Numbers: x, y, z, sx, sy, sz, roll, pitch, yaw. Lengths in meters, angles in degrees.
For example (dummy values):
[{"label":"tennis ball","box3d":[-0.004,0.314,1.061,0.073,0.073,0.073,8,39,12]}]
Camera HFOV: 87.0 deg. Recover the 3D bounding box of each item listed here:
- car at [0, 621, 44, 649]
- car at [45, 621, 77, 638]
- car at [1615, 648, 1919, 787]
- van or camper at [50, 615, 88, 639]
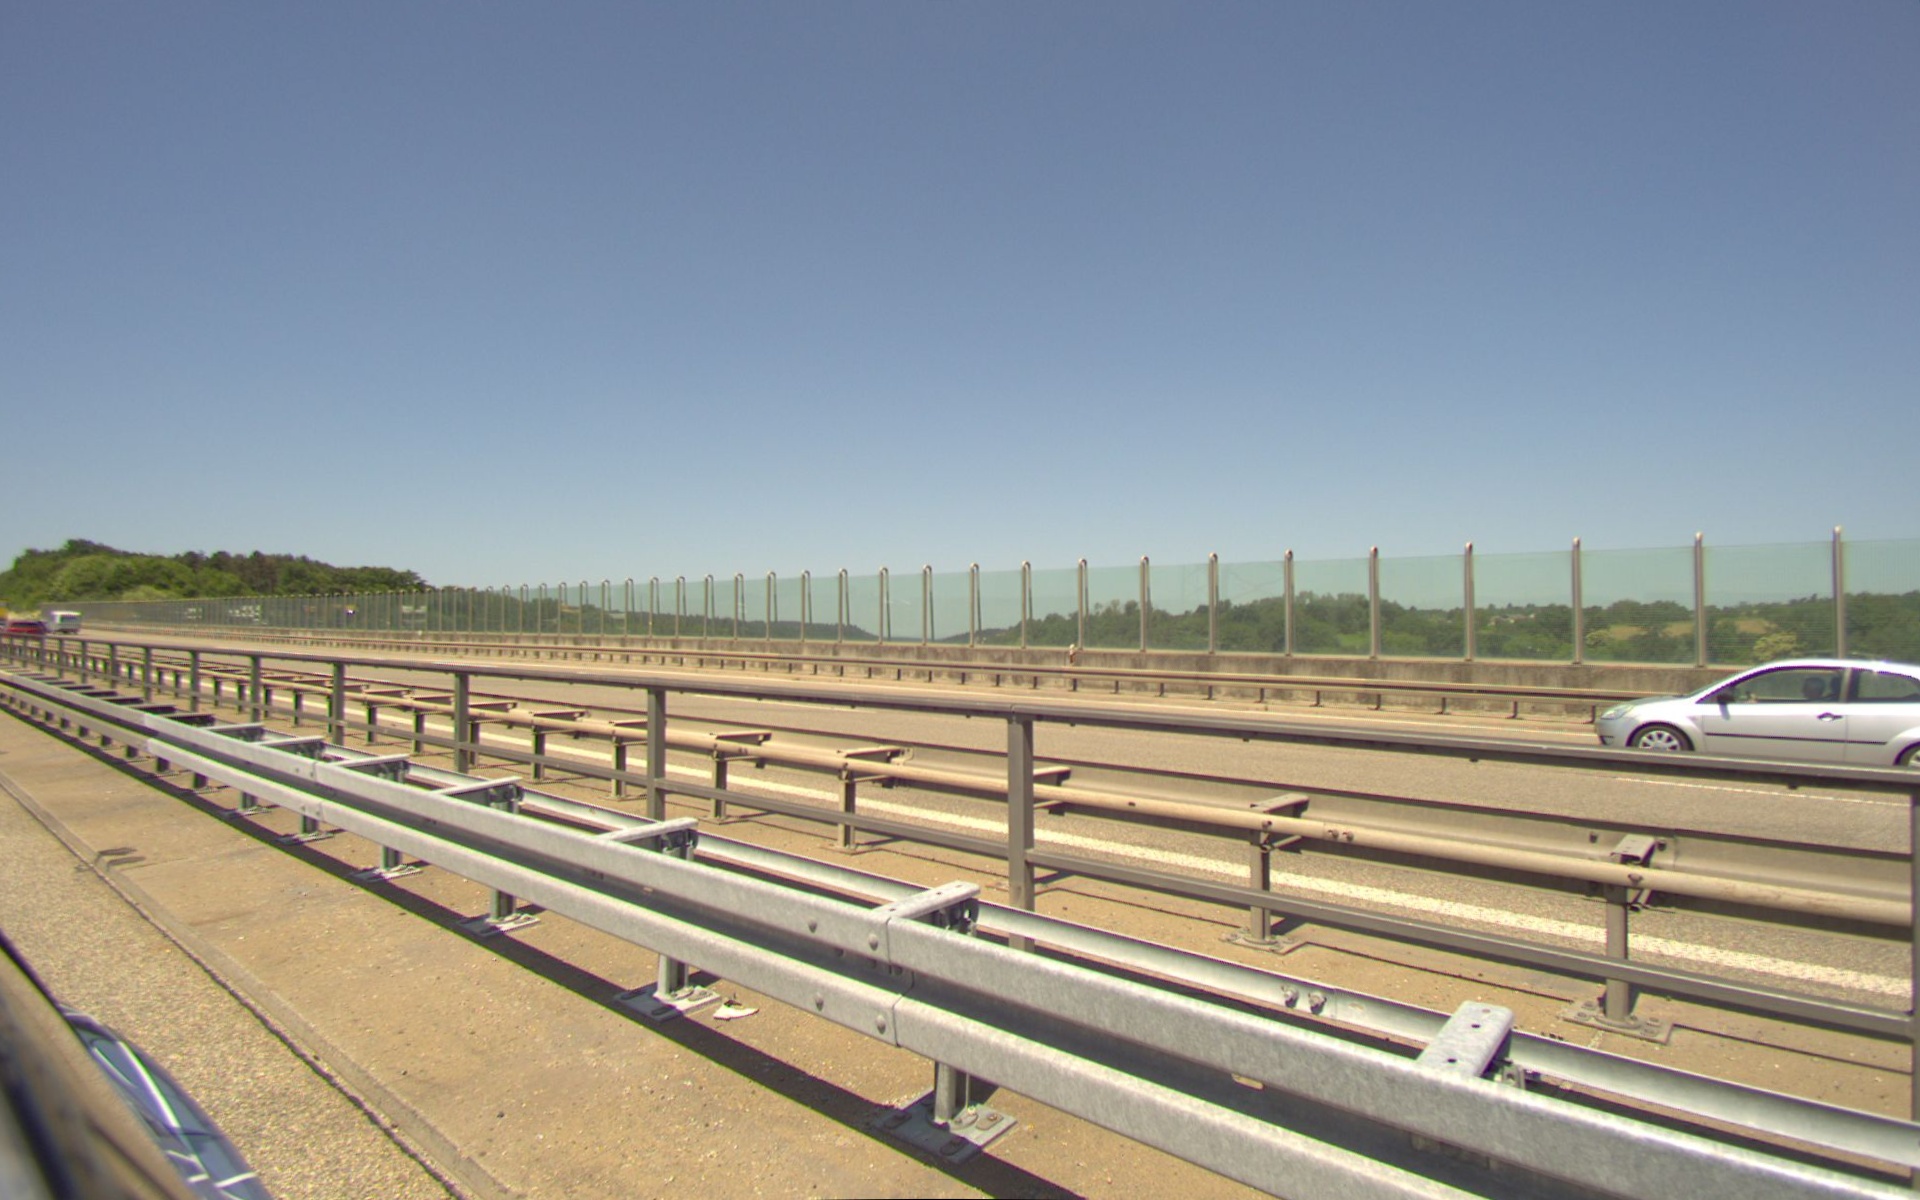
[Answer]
[{"label":"car","box3d":[-53.329,1.950,57.185,4.417,1.457,1.823,0,0,41]},{"label":"car","box3d":[-91.570,2.997,103.016,4.198,1.557,1.836,0,-3,41]},{"label":"car","box3d":[9.957,1.315,11.849,3.675,1.405,1.588,-1,-4,41]},{"label":"van or camper","box3d":[-87.861,2.650,99.791,5.533,2.228,1.973,-1,-3,41]}]
